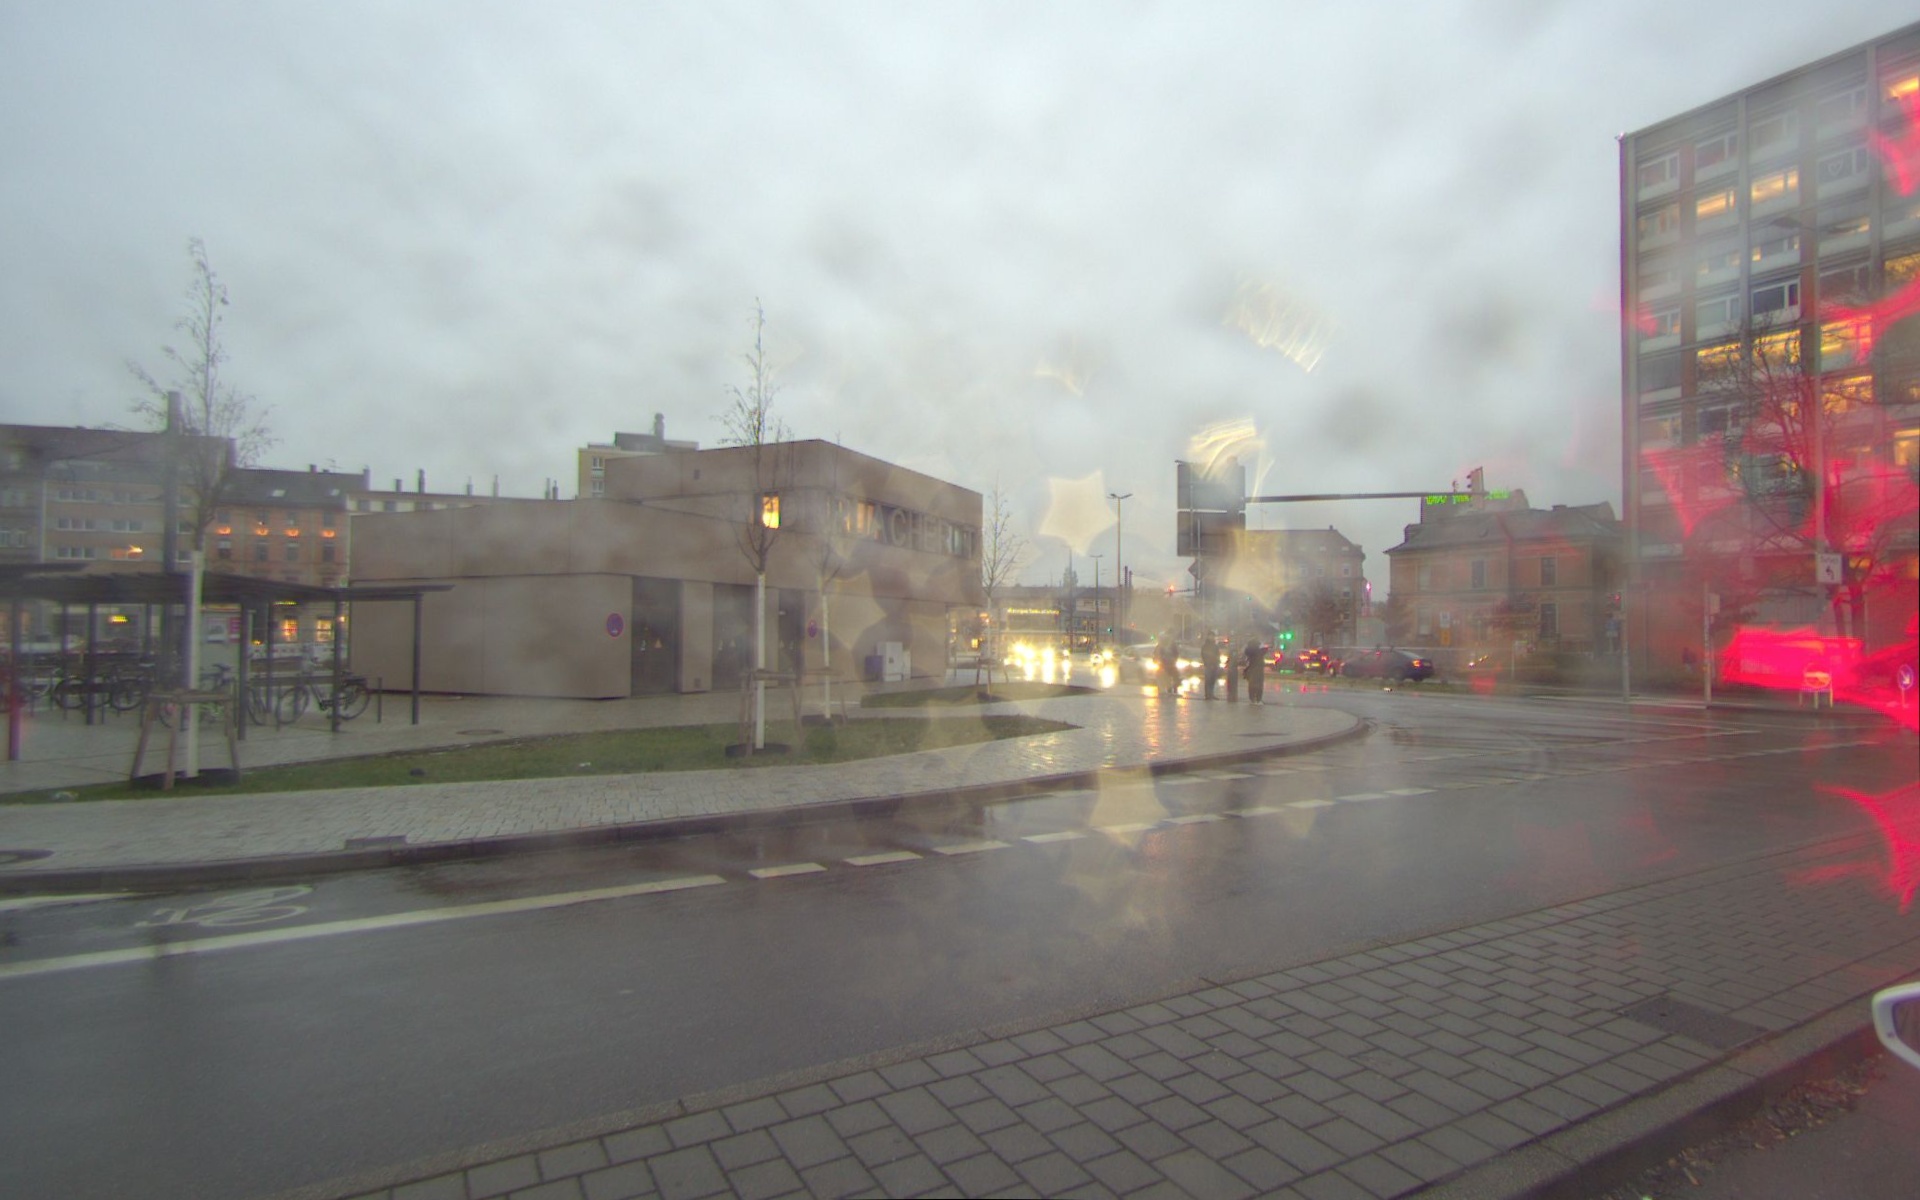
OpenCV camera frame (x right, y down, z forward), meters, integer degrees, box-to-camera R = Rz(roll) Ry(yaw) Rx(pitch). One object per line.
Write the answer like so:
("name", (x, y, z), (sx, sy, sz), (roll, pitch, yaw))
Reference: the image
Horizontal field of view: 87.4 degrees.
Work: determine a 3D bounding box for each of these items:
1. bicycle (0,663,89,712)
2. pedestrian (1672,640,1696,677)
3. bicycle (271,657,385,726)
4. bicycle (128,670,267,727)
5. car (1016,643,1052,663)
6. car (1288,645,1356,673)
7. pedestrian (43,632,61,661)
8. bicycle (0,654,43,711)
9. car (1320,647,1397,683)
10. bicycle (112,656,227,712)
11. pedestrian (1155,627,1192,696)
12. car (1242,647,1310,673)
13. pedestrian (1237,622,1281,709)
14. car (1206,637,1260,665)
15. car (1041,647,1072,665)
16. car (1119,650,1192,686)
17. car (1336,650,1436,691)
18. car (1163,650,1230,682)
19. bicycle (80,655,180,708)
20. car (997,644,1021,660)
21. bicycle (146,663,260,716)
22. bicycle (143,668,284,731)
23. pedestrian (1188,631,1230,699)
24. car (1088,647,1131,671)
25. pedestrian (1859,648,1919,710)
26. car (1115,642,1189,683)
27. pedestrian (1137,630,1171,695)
("bicycle", (-18.502, 1.734, 19.993), (0.466, 0.903, 1.693), (1, -2, 24))
("pedestrian", (34.296, 2.773, 47.587), (0.626, 1.710, 0.640), (0, -2, -13))
("bicycle", (-11.743, 1.676, 18.723), (0.605, 1.172, 1.755), (1, -2, 20))
("bicycle", (-13.580, 1.738, 17.955), (0.466, 0.903, 1.923), (1, -2, 29))
("car", (5.673, 4.035, 77.171), (1.778, 1.496, 4.587), (1, -3, -9))
("car", (20.911, 3.406, 58.079), (3.364, 1.481, 1.515), (2, 0, -1))
("pedestrian", (-62.680, 3.209, 69.354), (0.695, 2.040, 0.586), (0, -2, -21))
("bicycle", (-19.387, 1.633, 19.842), (0.466, 1.122, 1.797), (1, -2, 29))
("car", (20.505, 3.309, 51.819), (1.795, 1.589, 3.991), (2, 0, -11))
("bicycle", (-16.523, 1.737, 21.043), (0.466, 1.087, 1.830), (1, -2, 26))
("pedestrian", (5.878, 1.685, 27.647), (0.671, 1.863, 0.726), (1, -3, -42))
("car", (20.098, 3.804, 63.980), (3.741, 1.502, 1.602), (2, 0, -1))
("pedestrian", (7.255, 1.577, 24.369), (0.971, 2.047, 0.802), (-1, -2, 19))
("car", (19.630, 3.653, 72.355), (3.514, 1.850, 1.672), (2, 0, 8))
("car", (8.452, 4.909, 88.222), (1.778, 1.496, 4.667), (1, -3, -7))
("car", (9.262, 3.207, 47.990), (1.904, 1.572, 4.692), (1, -3, -9))
("car", (19.933, 3.268, 47.125), (1.811, 1.589, 3.956), (2, 0, -38))
("car", (12.071, 3.373, 51.667), (1.778, 1.496, 4.587), (1, -3, -9))
("bicycle", (-17.680, 1.711, 21.436), (0.511, 1.050, 1.573), (1, -2, 19))
("car", (4.959, 5.267, 102.562), (1.742, 1.598, 3.995), (0, -2, -8))
("bicycle", (-15.173, 1.779, 20.178), (0.466, 0.968, 1.767), (1, -2, 29))
("bicycle", (-12.929, 1.704, 17.462), (0.466, 0.989, 1.923), (1, -2, 29))
("pedestrian", (6.595, 1.705, 26.630), (0.838, 1.778, 0.659), (0, -2, -14))
("car", (9.900, 3.898, 66.796), (1.777, 1.497, 3.964), (1, -3, -7))
("pedestrian", (29.345, 2.458, 31.607), (1.117, 1.867, 1.004), (-2, -2, -4))
("car", (7.378, 2.376, 38.918), (1.713, 1.467, 3.710), (0, -2, -8))
("pedestrian", (5.450, 1.741, 28.201), (0.544, 1.793, 0.734), (1, -3, -43))
